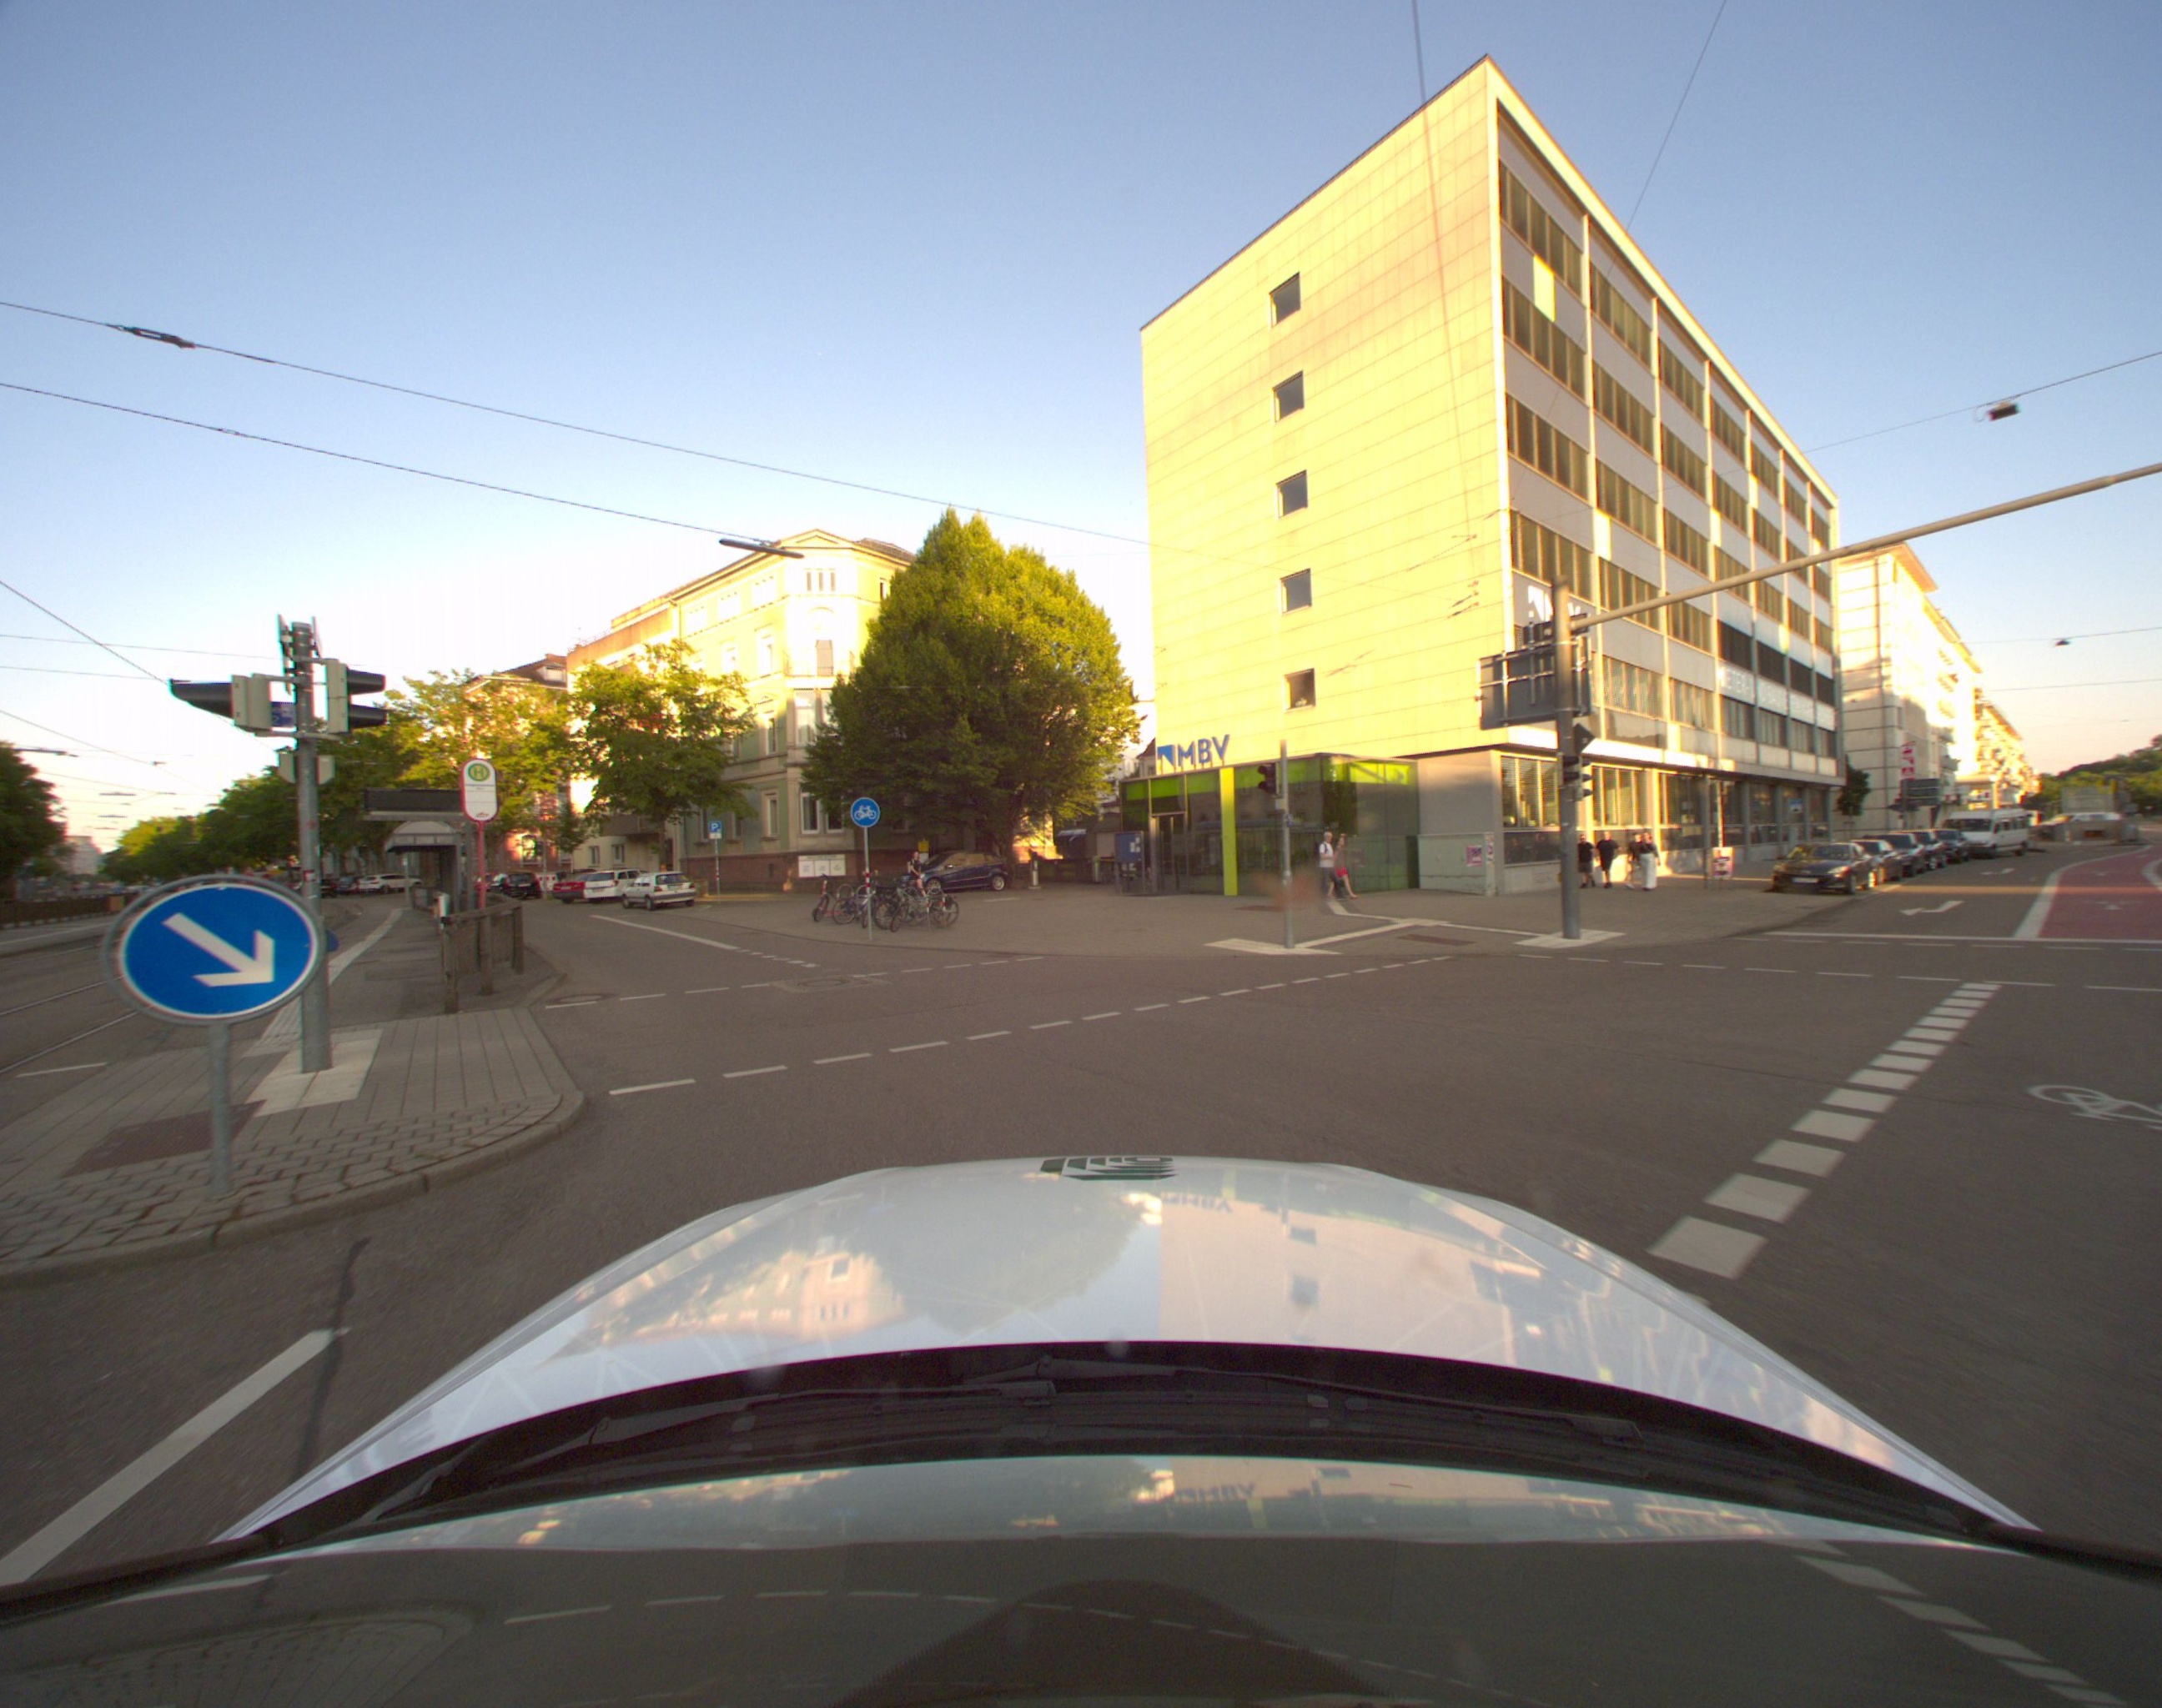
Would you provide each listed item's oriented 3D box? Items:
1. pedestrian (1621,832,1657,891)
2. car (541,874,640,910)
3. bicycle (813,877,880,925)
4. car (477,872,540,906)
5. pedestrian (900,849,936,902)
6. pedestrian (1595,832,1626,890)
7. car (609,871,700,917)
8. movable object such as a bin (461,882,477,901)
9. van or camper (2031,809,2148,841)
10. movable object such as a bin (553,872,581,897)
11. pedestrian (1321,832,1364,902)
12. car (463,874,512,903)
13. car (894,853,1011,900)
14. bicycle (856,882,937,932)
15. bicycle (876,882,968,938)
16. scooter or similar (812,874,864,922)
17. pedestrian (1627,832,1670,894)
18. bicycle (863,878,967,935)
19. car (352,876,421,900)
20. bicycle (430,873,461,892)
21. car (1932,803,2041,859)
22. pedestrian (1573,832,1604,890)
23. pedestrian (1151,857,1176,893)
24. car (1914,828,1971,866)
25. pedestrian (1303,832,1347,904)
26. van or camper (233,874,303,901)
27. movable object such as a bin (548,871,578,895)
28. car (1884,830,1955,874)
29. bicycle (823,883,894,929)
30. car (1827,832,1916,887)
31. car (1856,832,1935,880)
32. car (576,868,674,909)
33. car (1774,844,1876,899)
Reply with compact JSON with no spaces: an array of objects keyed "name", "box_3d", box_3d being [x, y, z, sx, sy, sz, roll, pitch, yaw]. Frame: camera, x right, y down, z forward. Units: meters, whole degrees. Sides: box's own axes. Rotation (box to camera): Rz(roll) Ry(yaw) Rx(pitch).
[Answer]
[{"name":"pedestrian","box_3d":[17.205,0.230,25.100,0.676,1.768,0.732,-1,-1,-42]},{"name":"car","box_3d":[-23.053,1.768,38.495,1.630,1.454,4.220,-2,0,9]},{"name":"bicycle","box_3d":[-6.253,1.235,21.705,1.538,1.163,0.736,-1,0,-37]},{"name":"car","box_3d":[-30.846,1.885,43.819,4.036,1.631,1.760,-2,2,41]},{"name":"pedestrian","box_3d":[-5.556,0.730,27.770,0.976,1.768,0.713,-2,0,36]},{"name":"pedestrian","box_3d":[16.656,0.217,25.618,0.650,1.768,0.647,-1,-1,-42]},{"name":"car","box_3d":[-16.724,1.550,31.860,3.949,1.552,1.696,-2,3,41]},{"name":"movable object such as a bin","box_3d":[-38.415,2.359,51.117,0.718,1.153,0.581,-1,-1,-40]},{"name":"van or camper","box_3d":[81.335,-2.281,65.819,5.460,2.167,2.256,-3,-1,22]},{"name":"movable object such as a bin","box_3d":[-32.031,1.883,50.750,1.302,1.502,1.082,-2,-1,36]},{"name":"pedestrian","box_3d":[6.729,0.329,20.966,0.712,1.768,0.738,-1,0,-38]},{"name":"car","box_3d":[-34.890,2.006,47.840,3.646,1.536,1.580,-2,2,43]},{"name":"car","box_3d":[-4.807,0.784,30.816,4.017,1.574,1.783,-2,1,-39]},{"name":"bicycle","box_3d":[-4.470,1.271,19.789,1.769,1.074,0.736,-1,0,-37]},{"name":"bicycle","box_3d":[-3.515,1.221,18.036,1.867,1.074,0.739,-3,0,-21]},{"name":"scooter or similar","box_3d":[-6.790,1.219,22.758,1.210,1.225,0.584,-4,1,-38]},{"name":"pedestrian","box_3d":[16.817,0.263,24.126,0.790,1.768,0.833,-1,-1,-42]},{"name":"bicycle","box_3d":[-3.856,1.192,19.068,2.248,1.132,0.736,-3,1,-37]},{"name":"car","box_3d":[-55.609,2.698,65.294,1.659,1.626,3.965,-2,2,8]},{"name":"bicycle","box_3d":[-45.853,2.074,58.814,0.597,1.266,1.921,-2,0,4]},{"name":"car","box_3d":[45.996,-1.184,41.359,5.868,2.627,2.225,-1,5,-28]},{"name":"pedestrian","box_3d":[15.844,0.222,25.427,0.650,1.768,0.647,-1,-1,-42]},{"name":"pedestrian","box_3d":[2.845,0.721,28.117,0.546,1.208,0.608,-1,0,-38]},{"name":"car","box_3d":[40.300,-0.378,38.084,3.887,1.664,1.487,-2,3,-39]},{"name":"pedestrian","box_3d":[6.147,0.343,20.530,0.712,1.768,0.727,-1,0,-38]},{"name":"van or camper","box_3d":[-93.782,3.874,94.042,2.071,2.530,5.557,-4,2,4]},{"name":"movable object such as a bin","box_3d":[-33.410,1.868,52.503,1.577,1.502,1.151,-2,-1,38]},{"name":"car","box_3d":[35.115,-0.132,34.096,3.887,1.664,1.679,-2,3,-39]},{"name":"bicycle","box_3d":[-5.719,1.317,20.953,1.563,1.074,0.736,-1,0,-37]},{"name":"car","box_3d":[26.900,0.129,27.683,3.887,1.664,1.679,-2,3,-39]},{"name":"car","box_3d":[30.951,0.025,30.907,3.887,1.664,1.679,-2,3,-39]},{"name":"car","box_3d":[-20.755,1.535,37.284,1.707,1.725,4.219,-1,0,7]},{"name":"car","box_3d":[21.917,0.455,23.952,3.887,1.411,1.679,-2,1,-39]}]
